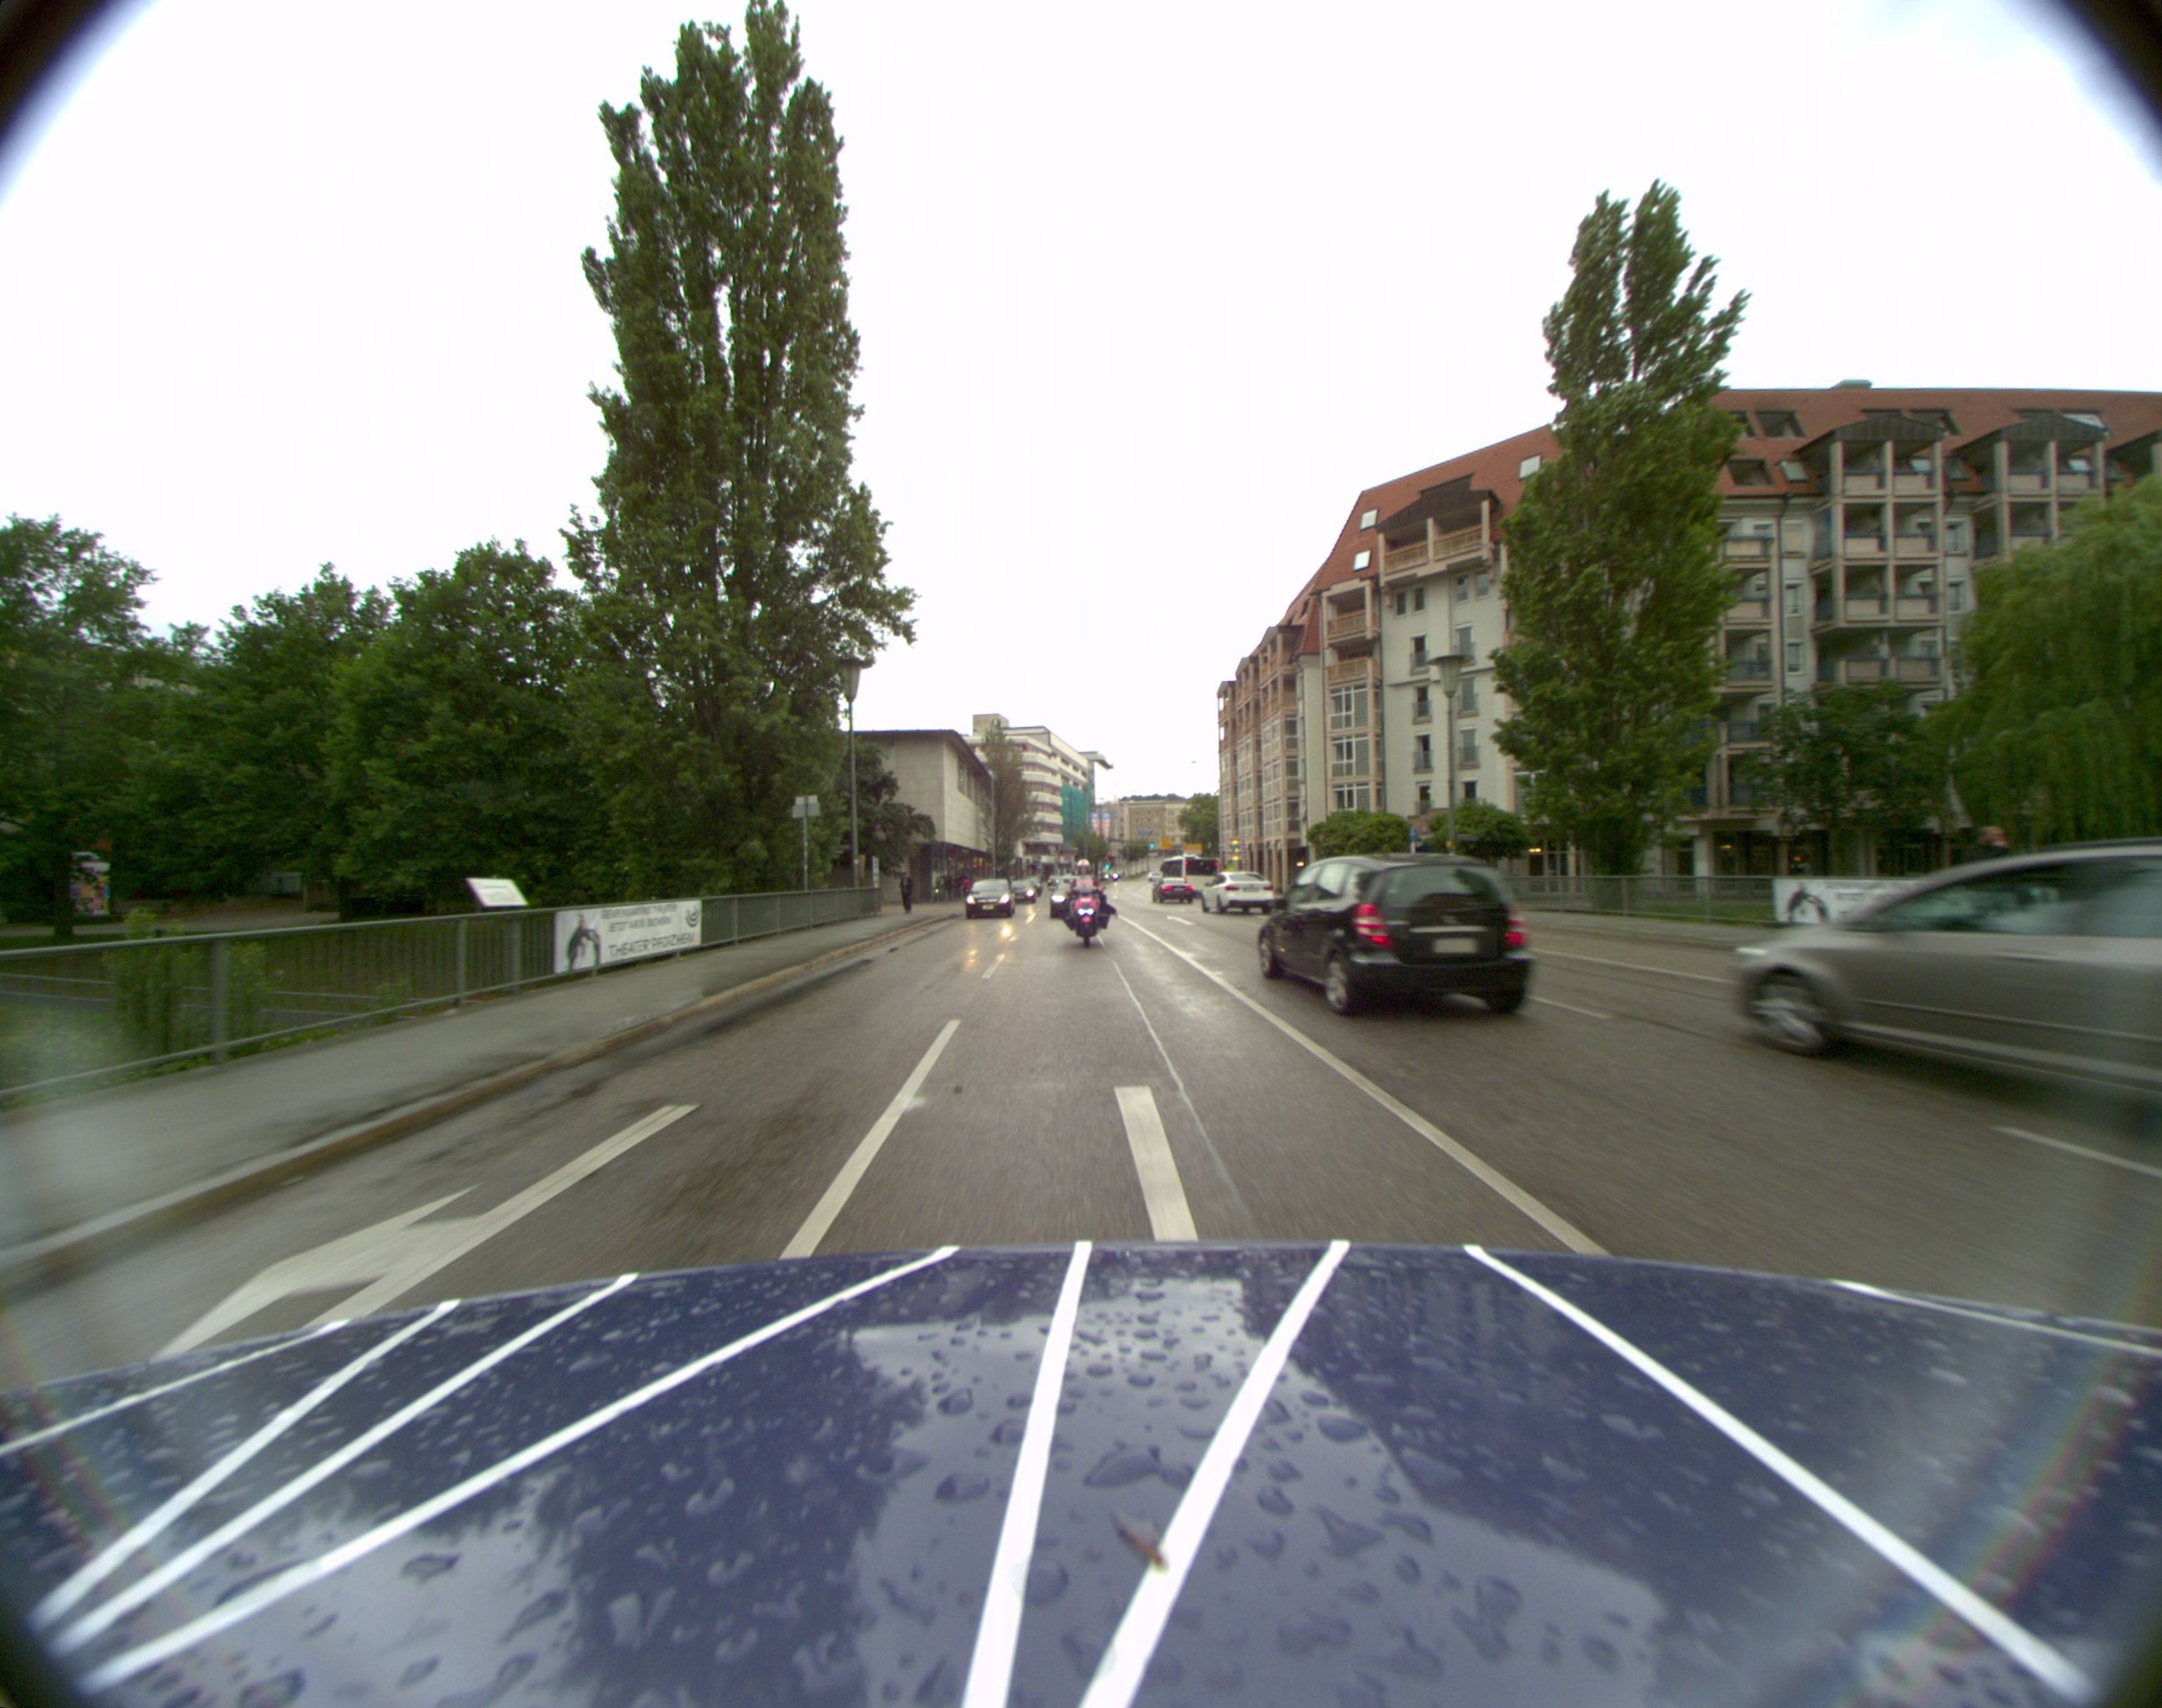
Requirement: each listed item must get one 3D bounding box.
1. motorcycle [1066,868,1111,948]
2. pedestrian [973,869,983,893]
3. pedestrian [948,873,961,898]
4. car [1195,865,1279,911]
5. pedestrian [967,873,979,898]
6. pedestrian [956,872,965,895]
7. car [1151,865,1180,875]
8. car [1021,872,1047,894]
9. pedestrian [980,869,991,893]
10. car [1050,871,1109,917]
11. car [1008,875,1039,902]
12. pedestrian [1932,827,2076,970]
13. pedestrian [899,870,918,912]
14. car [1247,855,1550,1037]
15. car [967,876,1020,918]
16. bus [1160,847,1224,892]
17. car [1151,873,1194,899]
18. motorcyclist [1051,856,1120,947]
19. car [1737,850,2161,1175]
[{"bbox_3d":[0.125,1.050,15.648,0.832,1.478,2.866,-1,-1,0],"label":"motorcycle"},{"bbox_3d":[-7.565,1.963,55.774,0.700,1.791,0.606,0,0,-1],"label":"pedestrian"},{"bbox_3d":[-8.149,2.045,48.896,0.728,1.580,0.606,0,0,-1],"label":"pedestrian"},{"bbox_3d":[5.565,1.223,27.732,1.841,1.500,4.821,-1,-2,-3],"label":"car"},{"bbox_3d":[-6.959,2.027,48.982,0.719,1.610,0.769,0,0,-1],"label":"pedestrian"},{"bbox_3d":[-8.994,2.200,56.701,0.537,1.708,0.535,-1,0,7],"label":"pedestrian"},{"bbox_3d":[13.072,2.498,117.954,3.990,1.401,1.773,-2,1,27],"label":"car"},{"bbox_3d":[-3.988,2.415,64.681,1.735,1.669,4.249,-3,0,2],"label":"car"},{"bbox_3d":[-7.001,1.989,55.744,0.655,1.756,0.923,0,0,-1],"label":"pedestrian"},{"bbox_3d":[-0.030,1.394,27.767,1.937,1.510,4.469,-2,-1,0],"label":"car"},{"bbox_3d":[-3.381,2.024,44.866,1.596,1.432,3.627,-2,-1,-1],"label":"car"},{"bbox_3d":[12.186,0.560,10.065,0.700,1.783,0.958,-2,0,-1],"label":"pedestrian"},{"bbox_3d":[-6.804,1.465,30.041,0.641,1.654,0.563,0,-2,-2],"label":"pedestrian"},{"bbox_3d":[3.219,0.837,8.621,1.741,1.592,3.919,0,-1,-1],"label":"car"},{"bbox_3d":[-3.333,1.619,29.447,1.712,1.448,3.742,-2,-2,-2],"label":"car"},{"bbox_3d":[8.309,1.281,58.564,2.751,3.056,12.239,2,-2,-2],"label":"bus"},{"bbox_3d":[5.134,1.794,43.108,1.796,1.317,4.406,-1,-1,-2],"label":"car"},{"bbox_3d":[0.083,0.956,15.520,1.296,1.756,0.846,-2,-1,-1],"label":"motorcyclist"},{"bbox_3d":[6.153,0.785,4.132,1.741,1.592,3.919,0,-1,-1],"label":"car"}]
